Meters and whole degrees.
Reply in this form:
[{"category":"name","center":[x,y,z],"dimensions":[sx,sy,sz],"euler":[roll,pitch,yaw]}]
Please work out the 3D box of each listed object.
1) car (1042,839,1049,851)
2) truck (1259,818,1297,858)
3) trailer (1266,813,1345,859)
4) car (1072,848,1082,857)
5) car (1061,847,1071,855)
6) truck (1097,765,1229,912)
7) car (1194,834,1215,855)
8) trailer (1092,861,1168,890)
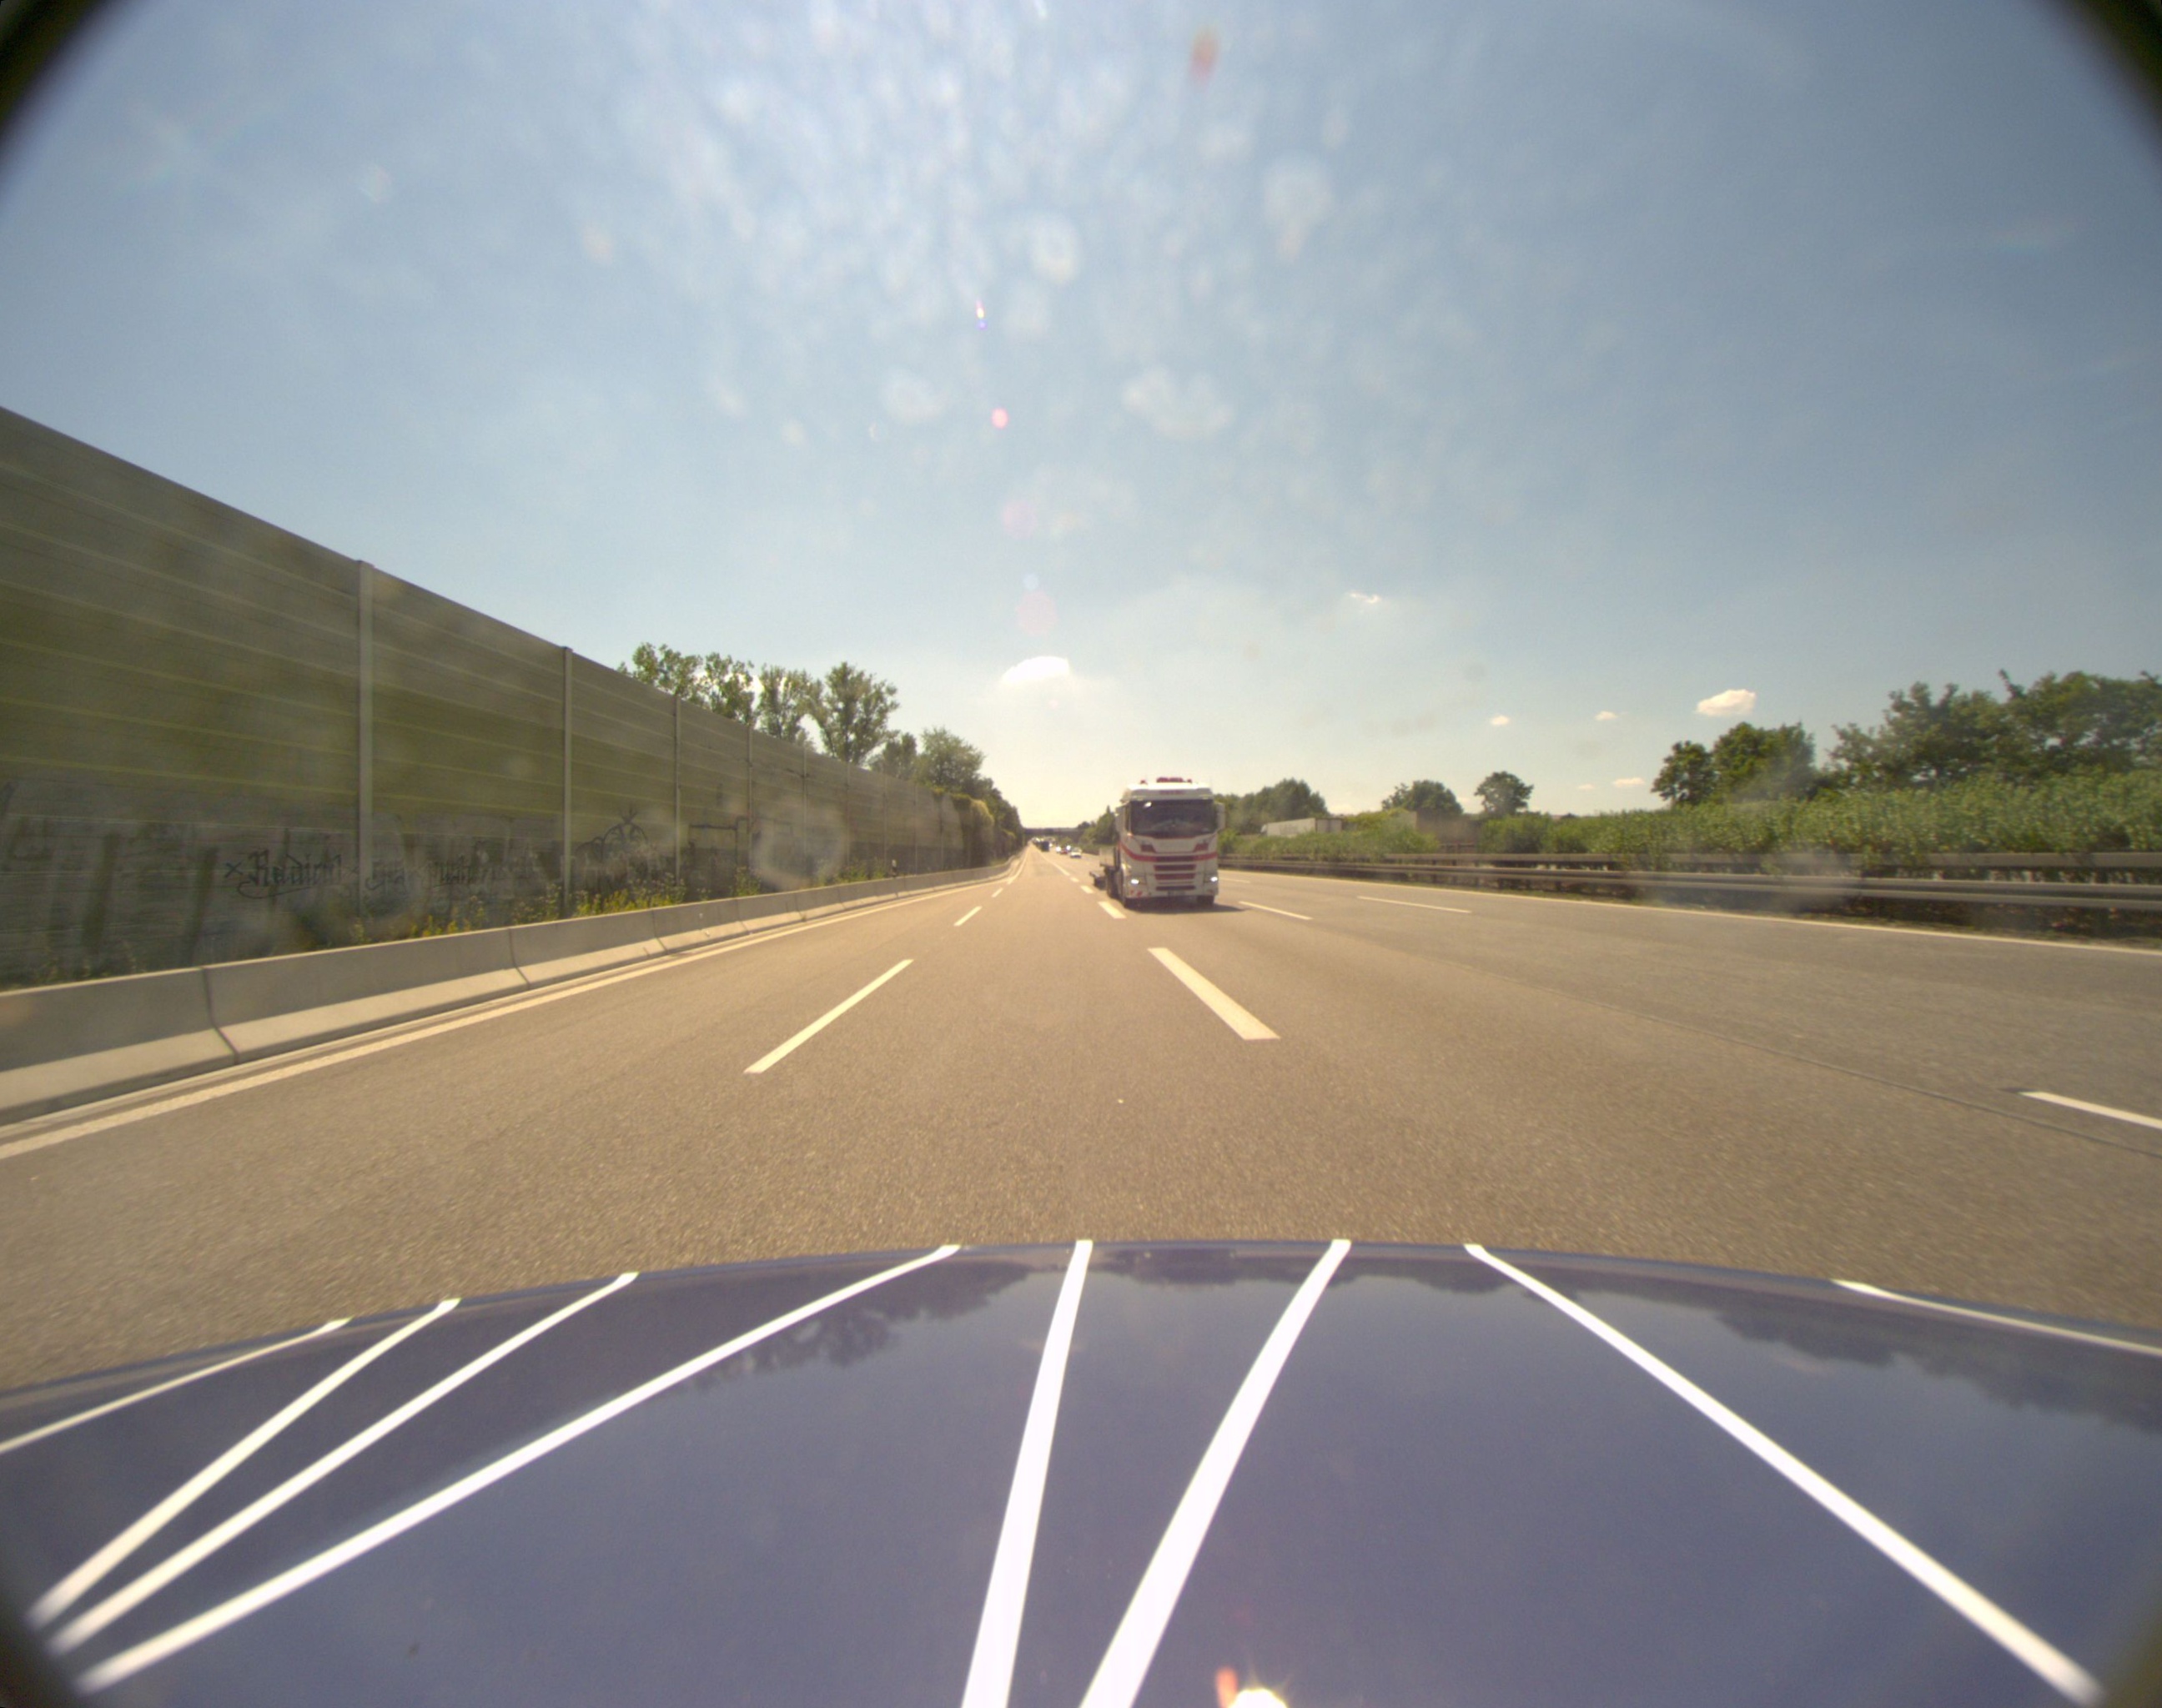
[{"category":"car","center":[-11.119,-2.805,237.847],"dimensions":[2.116,3.283,6.443],"euler":[-2,0,-4]},{"category":"truck","center":[21.437,-1.737,83.052],"dimensions":[2.612,4.132,4.746],"euler":[-1,1,-4]},{"category":"trailer","center":[21.994,-1.675,75.644],"dimensions":[2.613,4.109,14.221],"euler":[-1,1,-5]},{"category":"car","center":[-0.724,-0.248,138.951],"dimensions":[1.786,1.494,4.170],"euler":[-1,0,-2]},{"category":"car","center":[-3.563,-0.792,181.550],"dimensions":[1.998,1.832,4.001],"euler":[-2,0,1]},{"category":"truck","center":[2.268,-0.438,25.233],"dimensions":[2.722,3.780,10.668],"euler":[-2,0,-2]},{"category":"car","center":[16.695,-1.261,103.011],"dimensions":[1.999,2.749,3.998],"euler":[-1,1,-3]},{"category":"trailer","center":[2.022,0.904,34.446],"dimensions":[2.722,0.929,7.758],"euler":[-2,0,-1]}]
